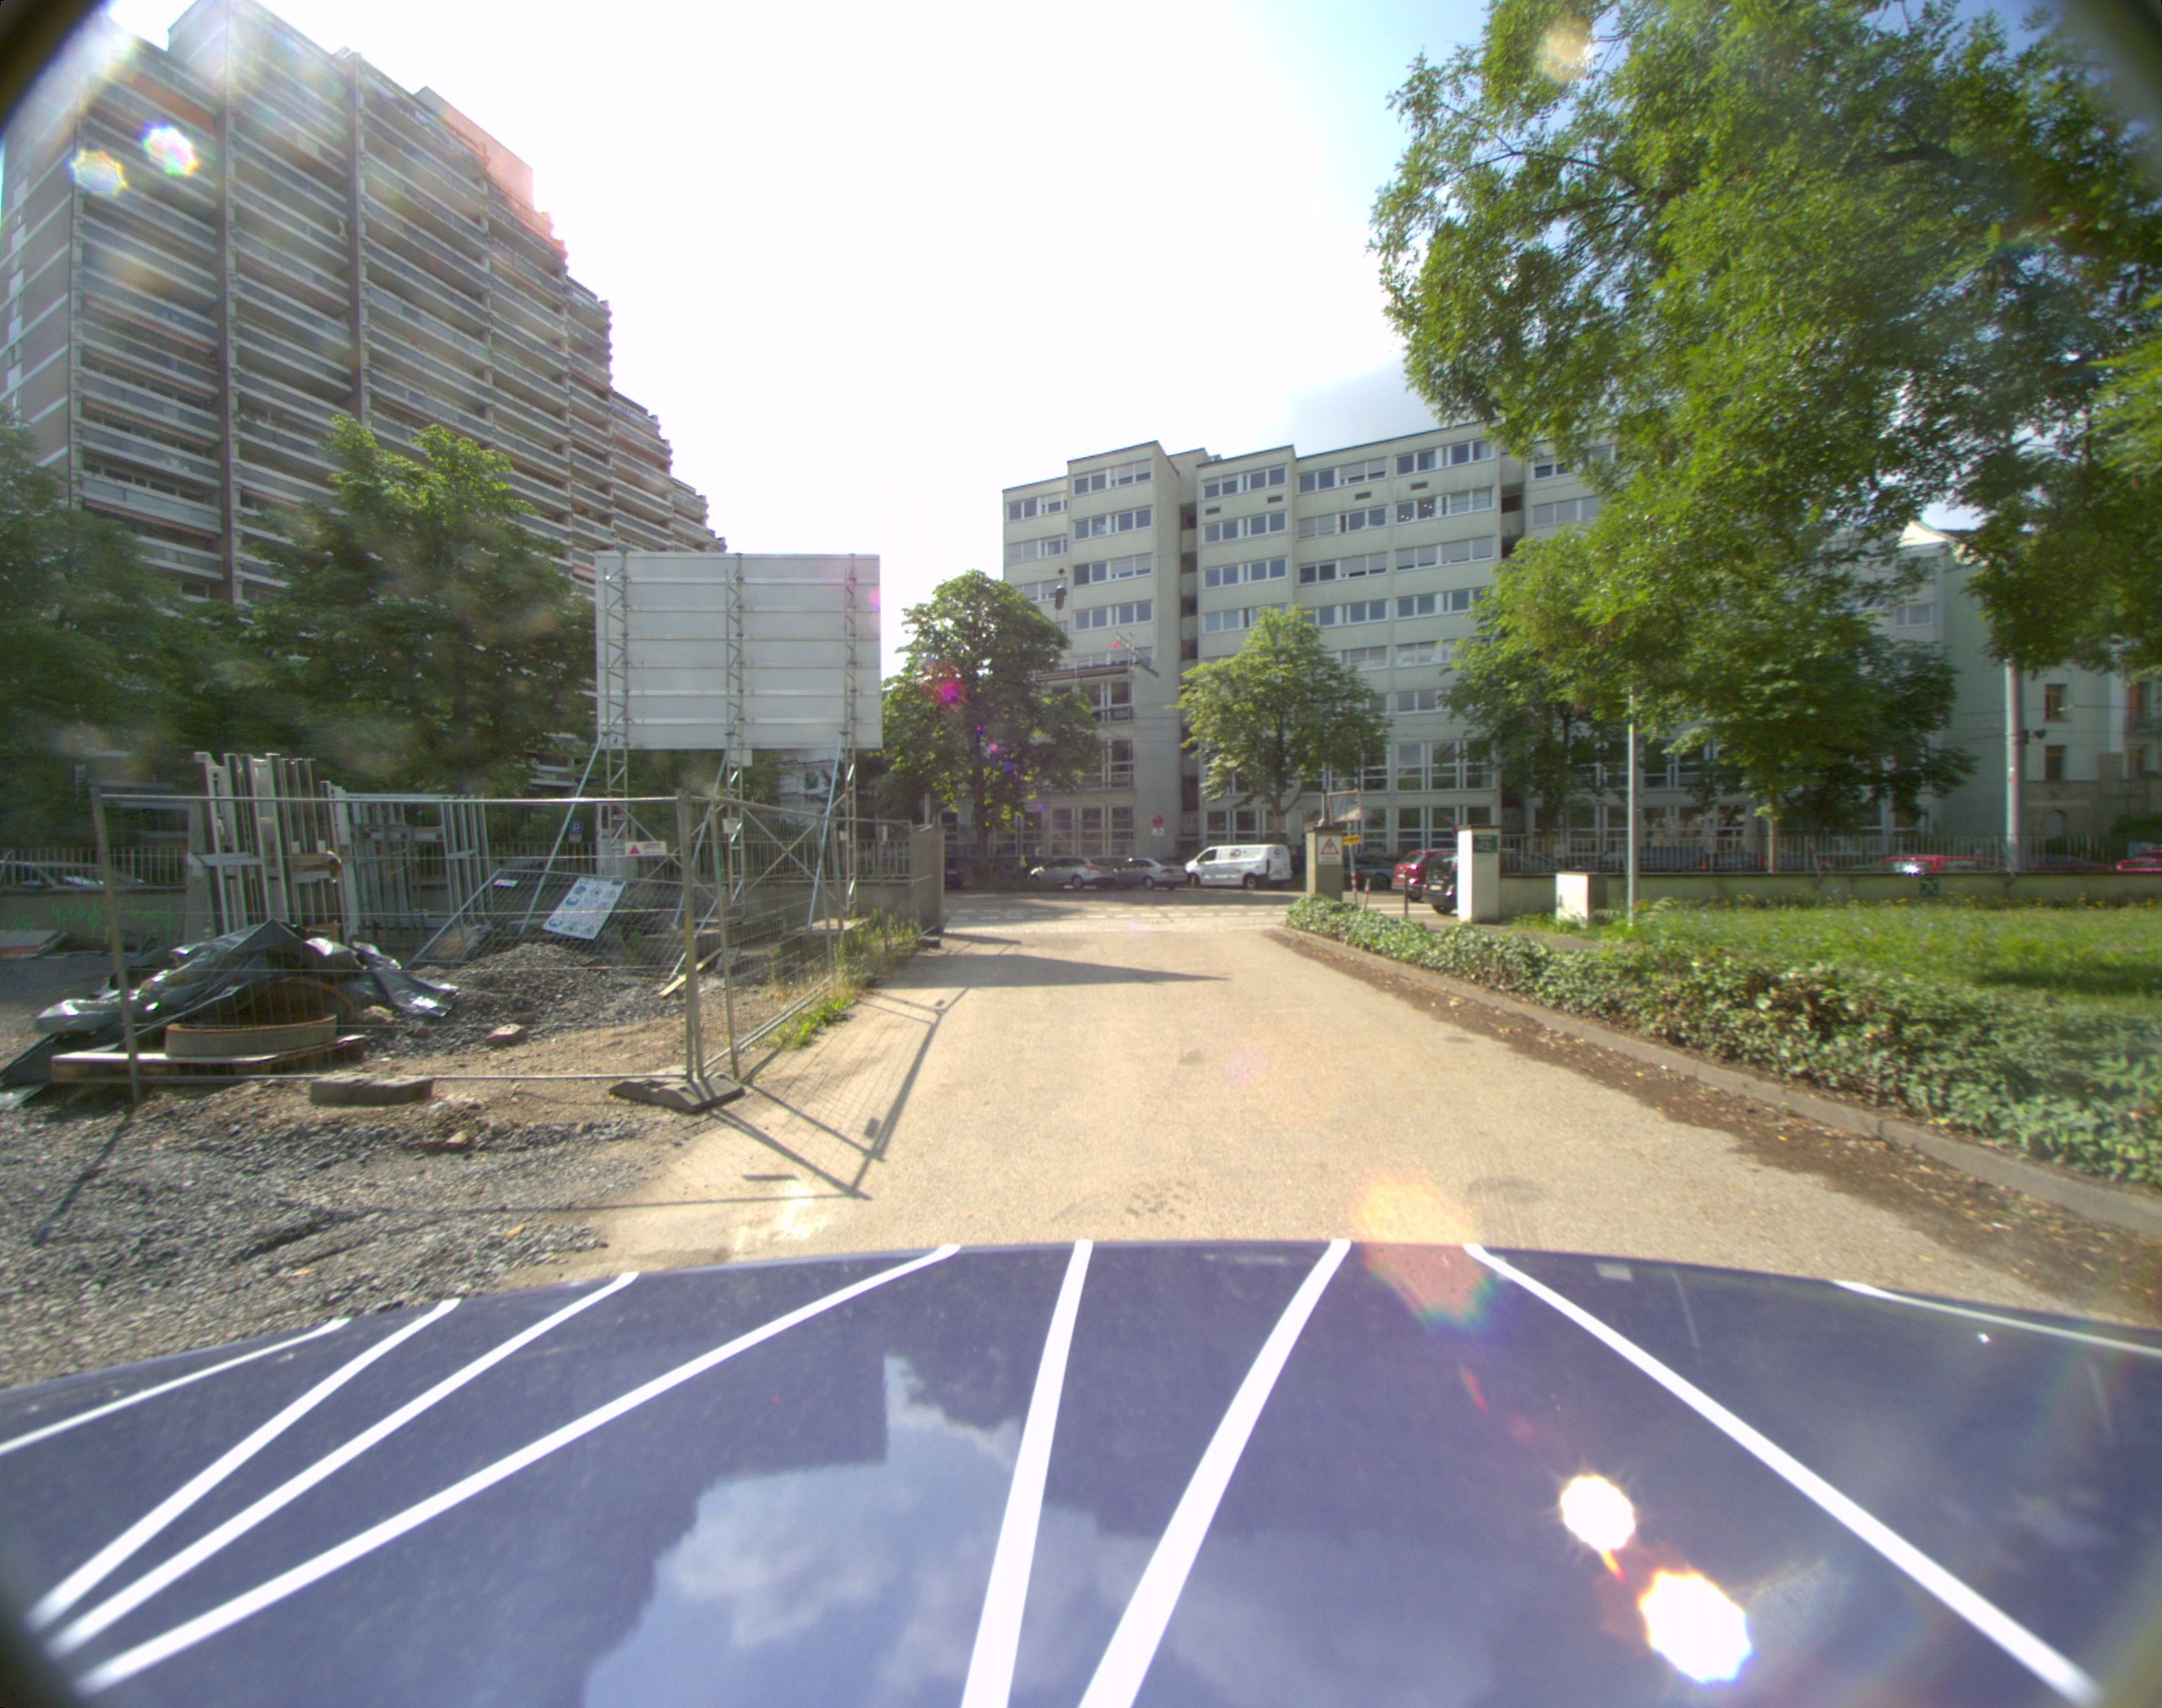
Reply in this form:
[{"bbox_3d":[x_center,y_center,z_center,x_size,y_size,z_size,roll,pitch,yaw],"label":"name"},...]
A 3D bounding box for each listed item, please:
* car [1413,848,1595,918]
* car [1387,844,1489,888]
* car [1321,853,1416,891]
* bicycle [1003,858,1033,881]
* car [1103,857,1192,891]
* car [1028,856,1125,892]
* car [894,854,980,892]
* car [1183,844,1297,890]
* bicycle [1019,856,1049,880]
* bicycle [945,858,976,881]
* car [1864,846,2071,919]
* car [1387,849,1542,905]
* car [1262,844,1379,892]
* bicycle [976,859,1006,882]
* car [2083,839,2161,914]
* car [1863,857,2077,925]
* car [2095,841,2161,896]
[{"bbox_3d":[10.447,0.706,18.923,3.582,1.602,1.679,-1,-1,-3],"label":"car"},{"bbox_3d":[16.420,0.583,34.994,3.749,1.702,1.886,-4,3,42],"label":"car"},{"bbox_3d":[13.183,0.845,34.934,3.627,1.492,1.765,-4,2,40],"label":"car"},{"bbox_3d":[-3.410,0.839,41.373,0.496,1.081,2.058,-4,2,27],"label":"bicycle"},{"bbox_3d":[2.994,0.904,34.504,3.773,1.466,1.729,-2,-1,45],"label":"car"},{"bbox_3d":[-0.249,0.921,34.465,4.225,1.455,1.787,-4,-3,41],"label":"car"},{"bbox_3d":[-6.545,0.866,34.350,1.762,1.454,3.989,-7,3,-45],"label":"car"},{"bbox_3d":[6.981,0.572,33.714,1.937,1.900,4.629,2,-2,-44],"label":"car"},{"bbox_3d":[-2.522,0.757,41.001,0.496,1.081,2.058,-4,2,27],"label":"bicycle"},{"bbox_3d":[-6.730,0.879,42.499,0.496,1.081,2.058,-4,2,27],"label":"bicycle"},{"bbox_3d":[22.444,0.689,19.327,3.277,1.477,1.672,-5,0,-2],"label":"car"},{"bbox_3d":[11.778,0.670,23.467,3.969,1.602,1.679,-1,1,-4],"label":"car"},{"bbox_3d":[10.523,0.610,33.662,1.907,1.986,4.560,-1,0,-44],"label":"car"},{"bbox_3d":[-4.934,0.889,41.786,0.496,1.081,2.058,-4,2,27],"label":"bicycle"},{"bbox_3d":[29.247,0.475,19.690,3.997,1.696,1.965,-5,2,-1],"label":"car"},{"bbox_3d":[22.495,0.913,19.318,3.582,1.602,1.679,-1,-1,-3],"label":"car"},{"bbox_3d":[38.240,0.546,25.819,4.833,1.762,1.948,1,-4,0],"label":"car"}]
